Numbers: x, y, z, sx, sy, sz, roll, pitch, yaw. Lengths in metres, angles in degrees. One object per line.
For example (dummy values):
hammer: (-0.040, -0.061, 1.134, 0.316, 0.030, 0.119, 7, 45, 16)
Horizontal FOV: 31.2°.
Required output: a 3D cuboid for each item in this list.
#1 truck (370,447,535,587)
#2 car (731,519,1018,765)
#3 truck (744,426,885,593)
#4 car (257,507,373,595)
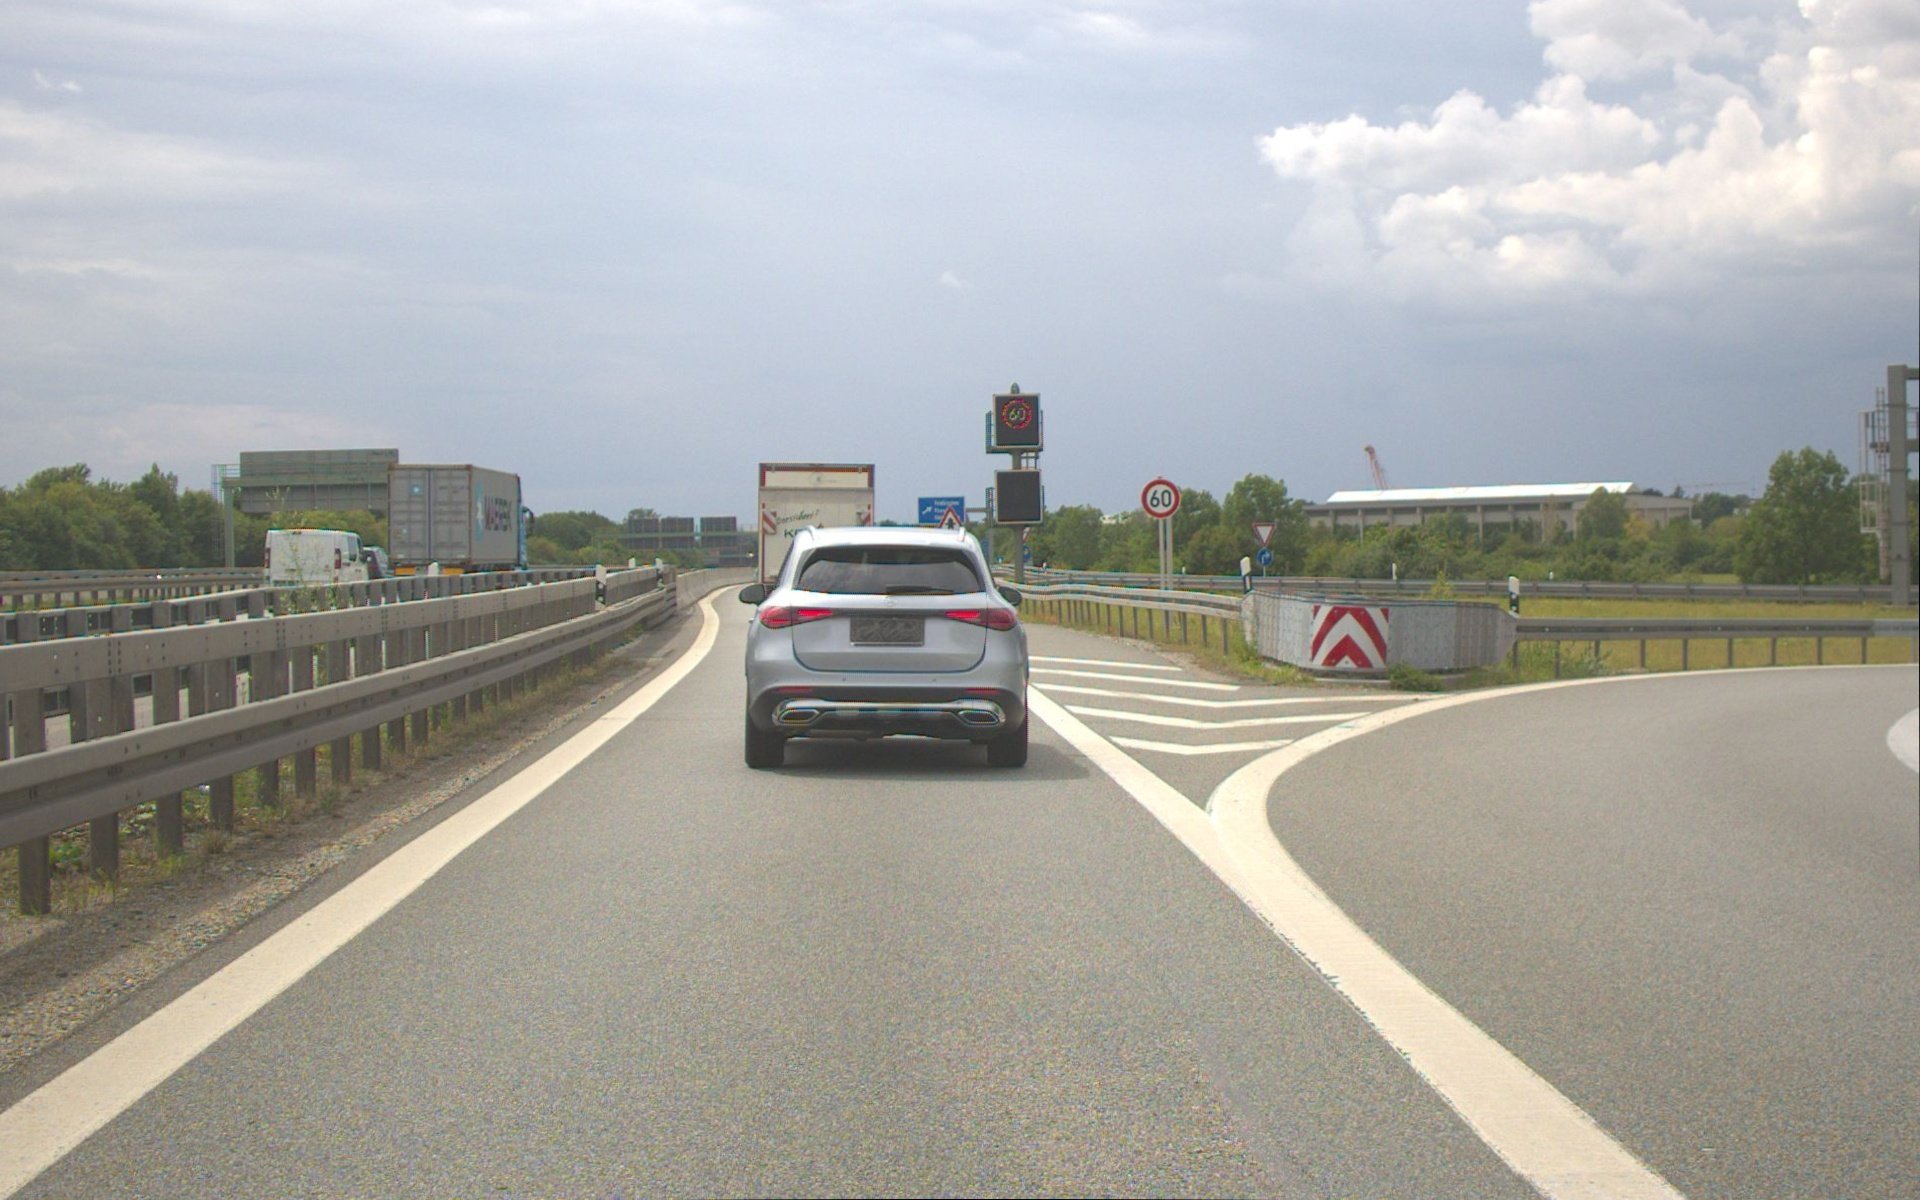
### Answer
truck: (-15.605, -2.667, 107.020, 3.183, 4.005, 16.077, 1, 2, -2)
car: (-0.564, 0.221, 23.916, 1.819, 1.509, 4.001, 1, 2, -1)
truck: (-2.838, -1.752, 69.128, 2.569, 3.115, 8.635, 1, 1, -1)
car: (-15.462, -1.212, 82.651, 1.993, 2.006, 4.375, 1, 2, -1)
